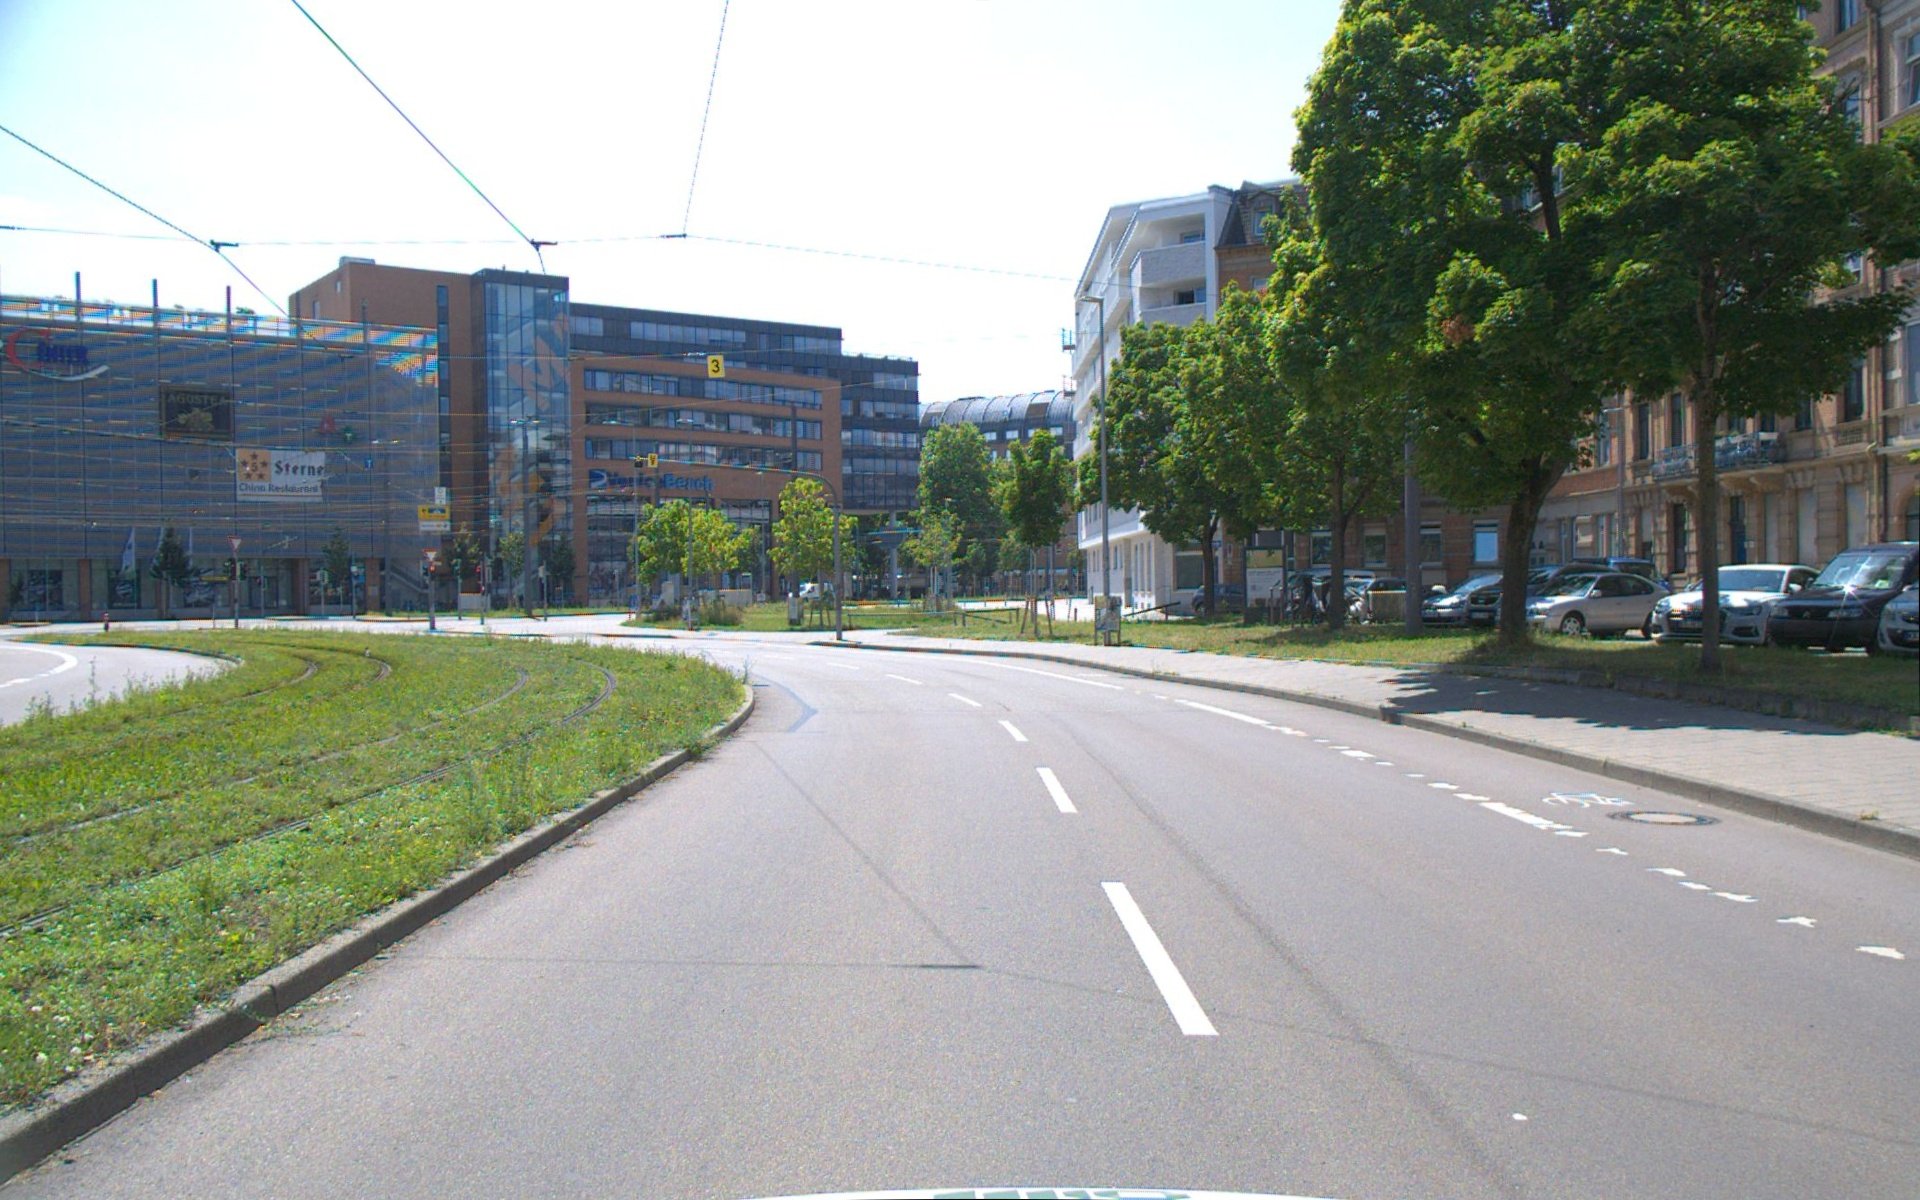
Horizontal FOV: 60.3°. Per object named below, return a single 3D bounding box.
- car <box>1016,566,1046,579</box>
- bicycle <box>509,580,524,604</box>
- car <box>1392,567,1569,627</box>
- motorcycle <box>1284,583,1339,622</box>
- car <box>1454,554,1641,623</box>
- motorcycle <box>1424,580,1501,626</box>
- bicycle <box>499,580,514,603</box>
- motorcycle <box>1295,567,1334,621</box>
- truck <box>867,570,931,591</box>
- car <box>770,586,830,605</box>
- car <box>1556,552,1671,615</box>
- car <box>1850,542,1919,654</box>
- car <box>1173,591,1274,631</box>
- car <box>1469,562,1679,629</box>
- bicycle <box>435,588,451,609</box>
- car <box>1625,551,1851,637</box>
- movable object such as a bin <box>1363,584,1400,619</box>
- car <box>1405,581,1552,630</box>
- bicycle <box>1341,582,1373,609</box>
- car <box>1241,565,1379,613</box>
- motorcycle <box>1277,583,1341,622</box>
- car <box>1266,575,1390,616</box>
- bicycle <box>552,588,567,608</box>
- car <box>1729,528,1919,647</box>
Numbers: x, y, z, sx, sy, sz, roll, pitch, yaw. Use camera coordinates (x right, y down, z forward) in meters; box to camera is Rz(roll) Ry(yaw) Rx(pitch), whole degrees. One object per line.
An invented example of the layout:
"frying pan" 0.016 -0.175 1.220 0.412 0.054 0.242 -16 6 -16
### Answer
"car" 9.954 -3.813 231.726 3.913 1.758 1.863 1 0 30
"bicycle" -38.860 -0.700 144.811 0.481 2.049 2.317 1 0 -35
"car" 12.780 -0.057 40.573 4.282 1.400 1.569 1 0 -27
"motorcycle" 10.301 0.068 48.460 1.489 1.140 0.478 1 0 -1
"car" 13.354 -0.247 37.561 4.033 1.495 1.781 1 0 -29
"motorcycle" 13.998 0.070 46.098 2.034 1.257 0.813 0 0 15
"bicycle" -39.551 -0.745 144.266 0.481 2.049 2.317 1 0 -35
"motorcycle" 9.682 -0.165 45.212 0.661 1.438 1.857 -2 0 1
"truck" -8.225 -2.620 222.918 9.042 2.858 1.995 1 0 32
"car" -14.503 -0.392 150.205 5.438 1.697 1.968 0 0 -44
"car" 21.121 -0.522 53.682 1.880 1.937 4.653 1 0 0
"car" 13.779 -0.011 22.089 3.950 1.424 1.693 0 0 -33
"car" 11.474 0.465 72.014 4.039 1.653 1.692 1 0 29
"car" 12.977 -0.079 34.983 3.932 1.336 1.959 1 0 -23
"bicycle" -43.646 -0.107 139.559 0.594 1.761 2.231 1 0 -36
"car" 13.325 -0.089 28.192 2.113 1.336 4.755 1 0 44
"movable object such as a bin" 11.865 0.046 46.539 0.965 0.953 0.702 1 0 11
"car" 15.504 0.158 49.623 3.902 1.400 1.958 1 0 7
"bicycle" 12.117 -0.144 50.455 0.488 0.819 1.452 0 0 33
"car" 12.490 -0.389 58.959 4.803 1.629 1.819 1 0 -28
"motorcycle" 10.477 0.068 49.671 1.787 1.140 0.527 1 0 -8
"car" 12.483 -0.151 56.110 3.941 1.355 1.743 1 0 -28
"bicycle" -35.784 -0.195 147.692 0.481 1.828 2.230 1 0 -35
"car" 13.958 -0.173 25.357 3.939 1.691 1.955 1 0 -27
